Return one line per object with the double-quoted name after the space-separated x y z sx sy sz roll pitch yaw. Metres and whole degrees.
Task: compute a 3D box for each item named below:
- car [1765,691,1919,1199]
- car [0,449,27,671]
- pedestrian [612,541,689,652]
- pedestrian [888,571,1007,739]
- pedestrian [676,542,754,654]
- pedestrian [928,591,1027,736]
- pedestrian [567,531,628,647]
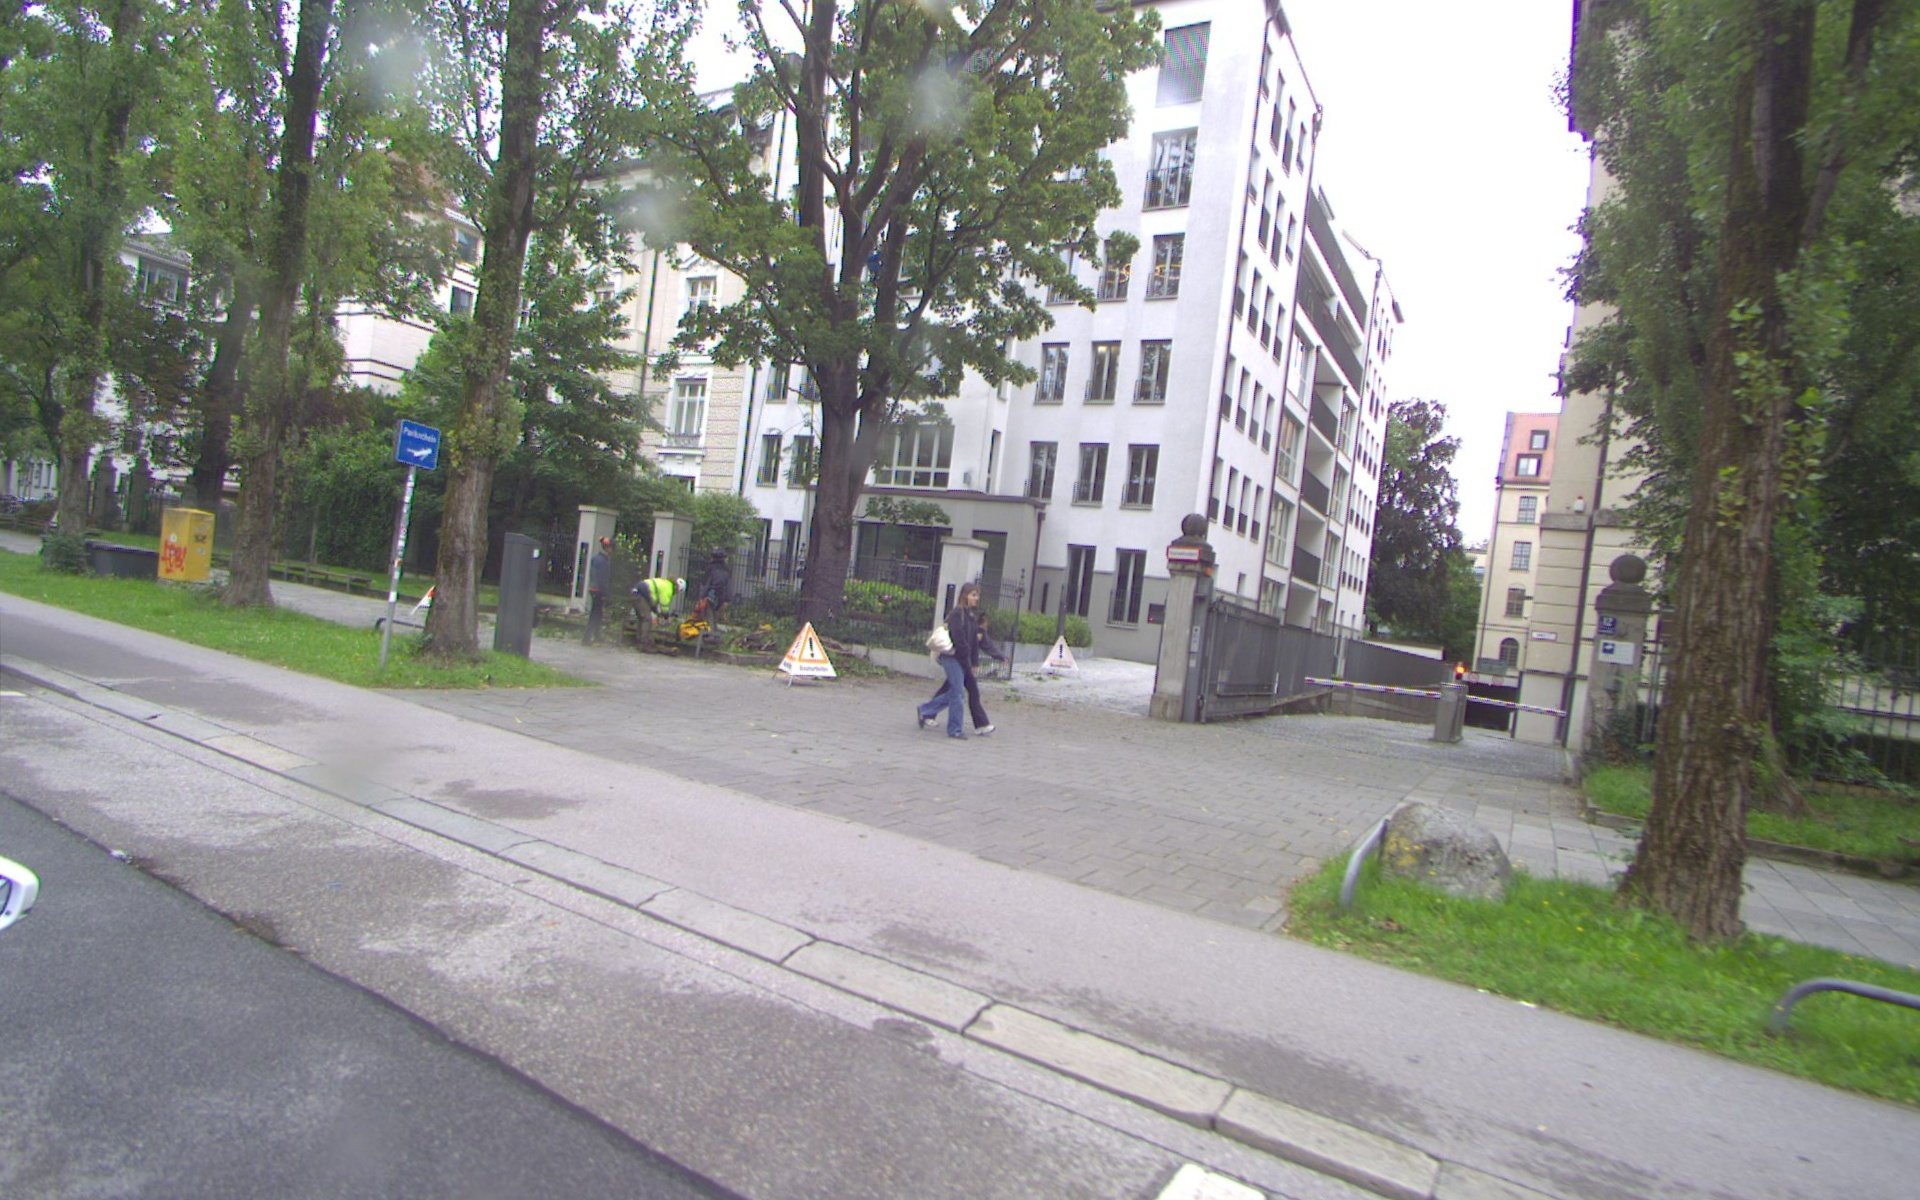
3.356 1.153 0.445 4.390 1.560 1.882 7 0 32 "car"
-10.402 -0.616 8.974 4.098 1.904 1.854 7 0 31 "car"
-5.329 -0.052 17.372 0.805 1.804 0.802 7 1 14 "pedestrian"
-0.135 0.610 11.351 0.853 1.739 0.854 7 2 31 "pedestrian"
-4.364 -0.028 17.940 0.814 1.823 0.904 9 2 10 "pedestrian"
0.215 0.750 12.075 0.853 1.598 0.568 7 1 31 "pedestrian"
-6.156 -0.179 17.110 0.626 1.886 0.488 7 1 14 "pedestrian"
